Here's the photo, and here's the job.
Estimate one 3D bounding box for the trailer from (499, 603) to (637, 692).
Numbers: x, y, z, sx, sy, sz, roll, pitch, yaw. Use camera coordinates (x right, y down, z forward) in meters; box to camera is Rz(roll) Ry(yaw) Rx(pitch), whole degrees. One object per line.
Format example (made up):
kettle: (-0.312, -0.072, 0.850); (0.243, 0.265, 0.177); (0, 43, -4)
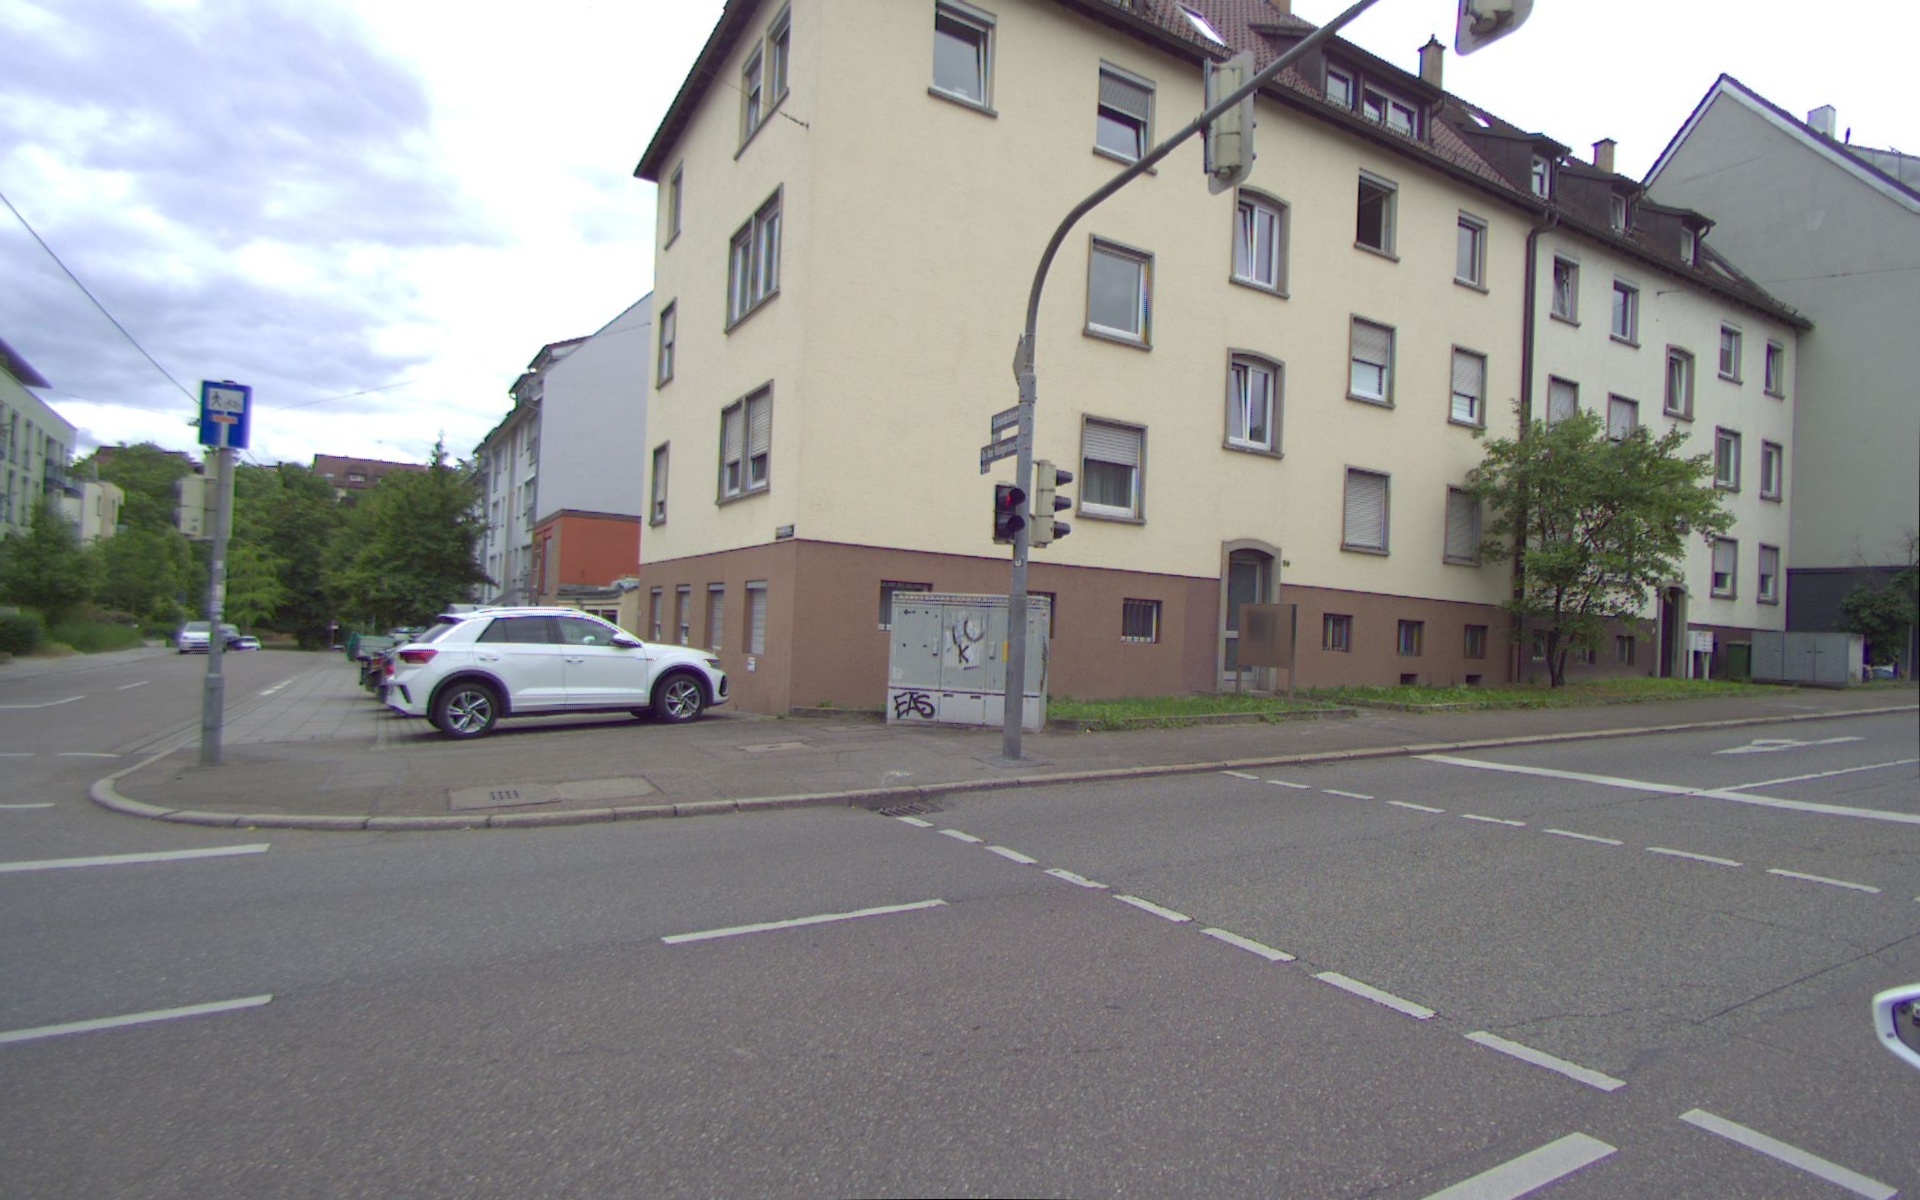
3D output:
trailer: (-9.666, 1.136, 24.780); (2.936, 2.040, 1.749); (1, -1, -31)

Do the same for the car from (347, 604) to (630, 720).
car: (-8.202, 0.995, 17.587); (4.217, 1.782, 1.981); (0, -2, -35)

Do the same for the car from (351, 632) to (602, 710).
car: (-9.512, 1.330, 19.857); (4.217, 1.288, 1.981); (0, -2, -35)

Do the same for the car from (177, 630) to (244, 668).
car: (-35.117, 2.261, 47.173); (1.976, 1.606, 3.969); (1, -1, -29)

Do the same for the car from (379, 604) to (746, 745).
car: (-5.175, 0.876, 13.288); (4.217, 1.557, 1.803); (0, -2, -35)

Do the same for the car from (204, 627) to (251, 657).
car: (-40.129, 2.275, 55.121); (1.981, 1.430, 3.960); (2, 0, -35)
